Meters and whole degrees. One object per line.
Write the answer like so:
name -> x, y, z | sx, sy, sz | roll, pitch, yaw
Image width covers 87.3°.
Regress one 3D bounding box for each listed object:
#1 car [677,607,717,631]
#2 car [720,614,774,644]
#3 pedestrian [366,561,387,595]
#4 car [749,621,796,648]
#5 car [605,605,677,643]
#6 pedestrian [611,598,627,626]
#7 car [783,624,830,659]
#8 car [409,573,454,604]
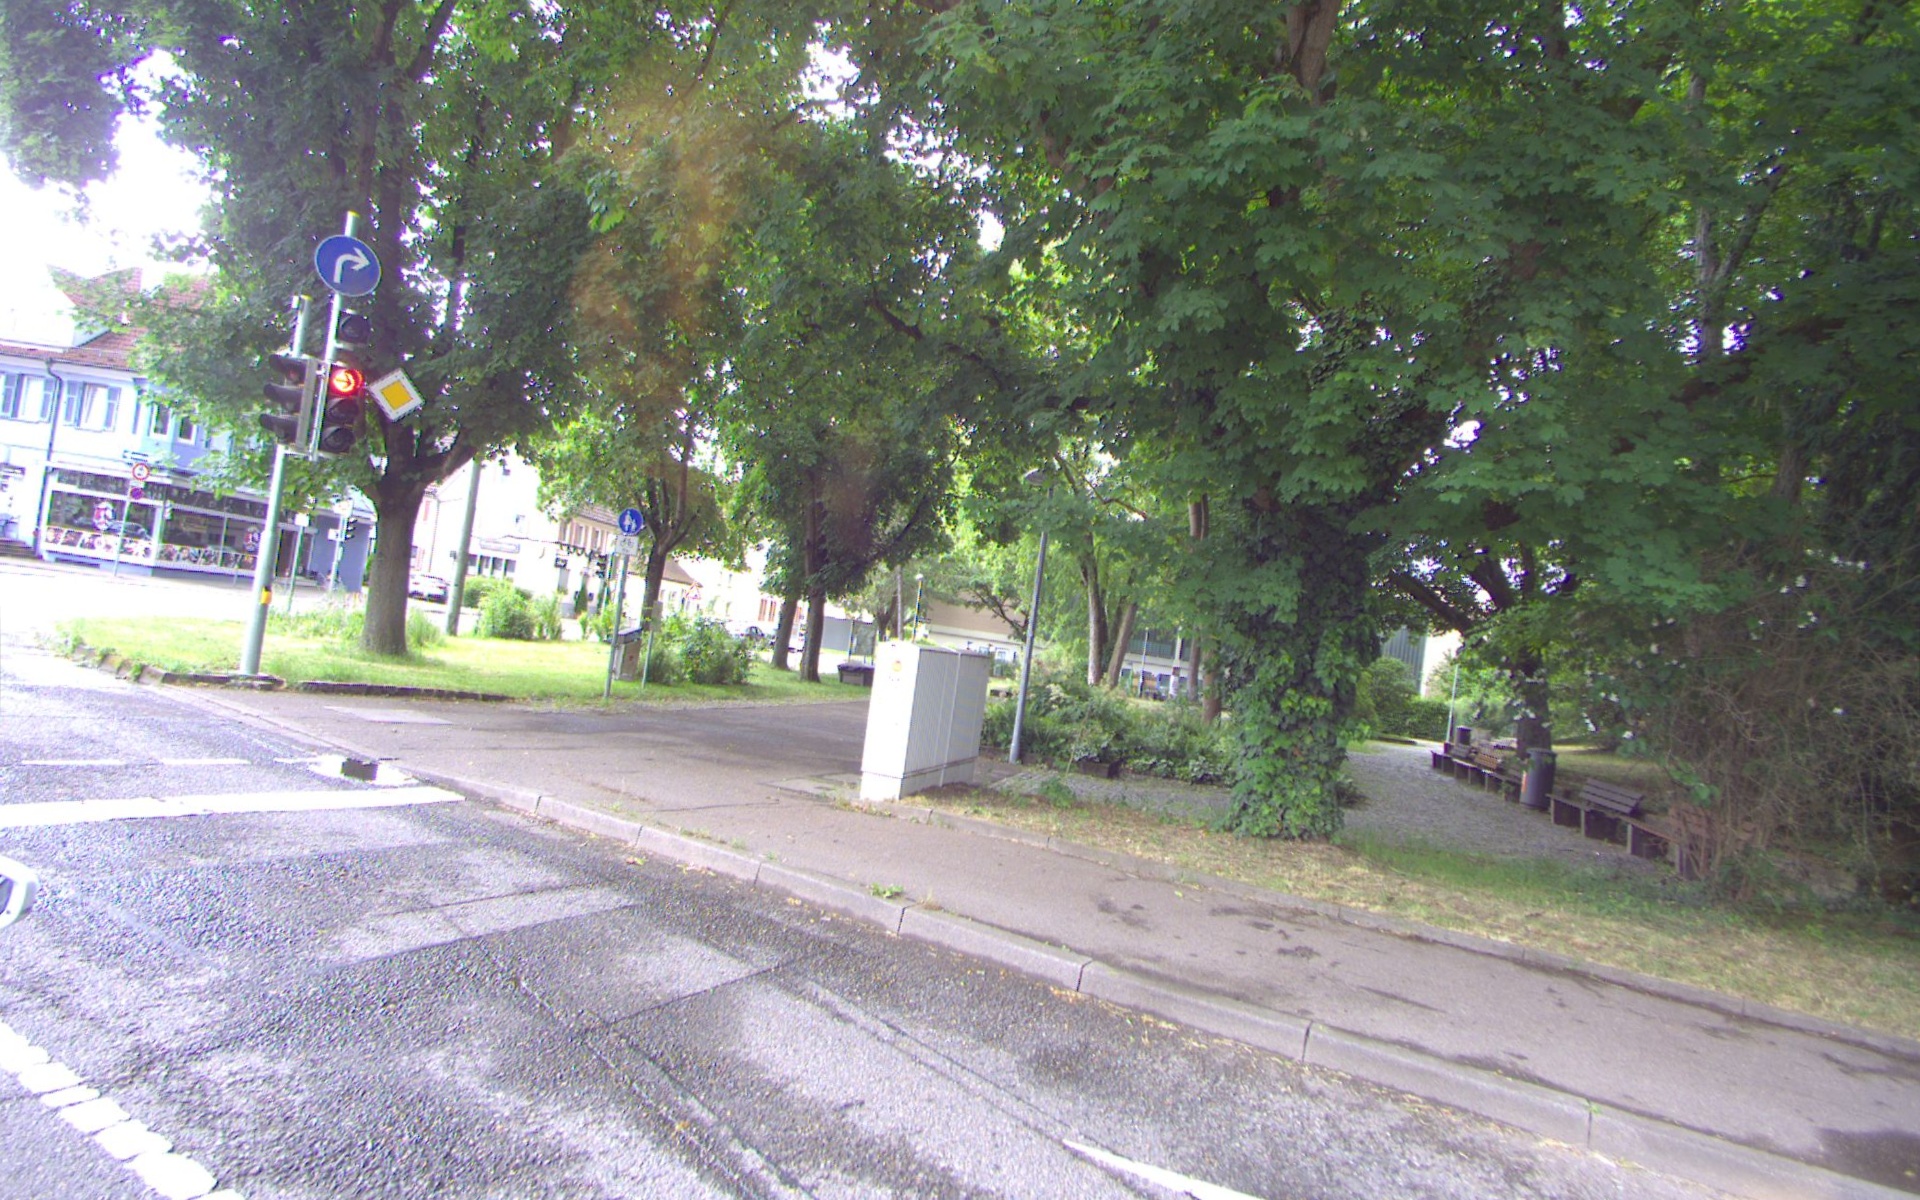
car -> -19.367, 1.445, 74.246 | 1.528, 1.436, 4.005 | 7, -2, 4
car -> -11.565, 1.598, 54.818 | 1.530, 1.336, 3.514 | 7, -2, 9
pedestrian -> -28.002, -1.055, 48.284 | 0.451, 1.535, 0.587 | 7, -1, 24
car -> -11.164, 2.072, 60.103 | 1.530, 1.336, 3.514 | 7, -2, 8
car -> -14.007, 1.091, 44.353 | 1.530, 1.336, 3.514 | 7, -2, 9
pedestrian -> -21.352, 0.737, 62.989 | 0.600, 1.668, 0.610 | 7, -1, 3
car -> -10.053, 2.760, 66.171 | 1.750, 2.037, 4.005 | 7, -2, 7
car -> -27.868, -0.602, 53.141 | 1.479, 1.384, 3.166 | 8, -2, -19
